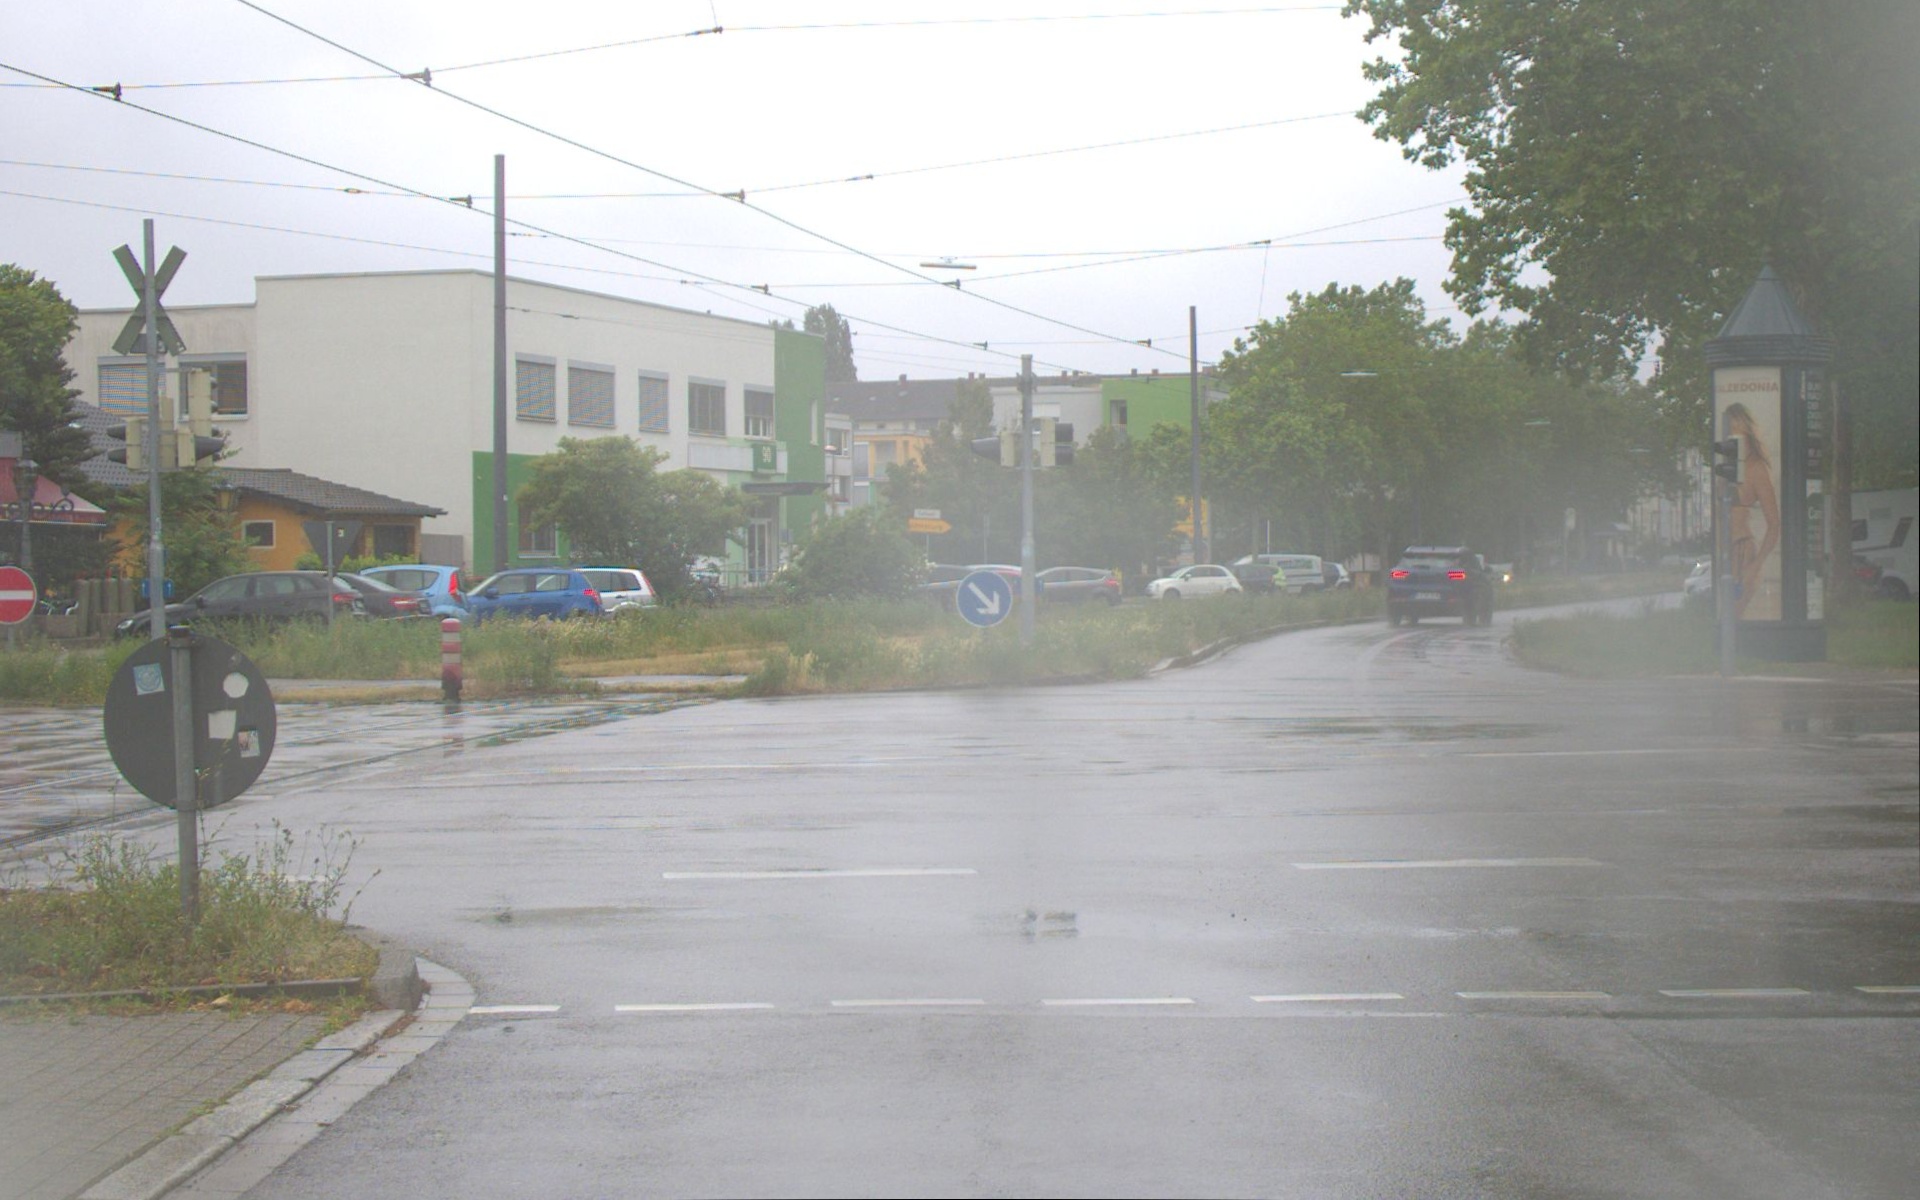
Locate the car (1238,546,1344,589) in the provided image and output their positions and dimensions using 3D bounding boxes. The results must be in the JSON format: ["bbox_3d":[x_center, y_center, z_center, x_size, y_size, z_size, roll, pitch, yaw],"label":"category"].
[{"bbox_3d":[13.935,-1.381,144.883,3.986,1.752,2.011,1,0,-11],"label":"car"}]

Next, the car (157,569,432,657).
[{"bbox_3d":[-11.846,0.220,61.396,4.497,1.413,1.858,-2,0,1],"label":"car"}]

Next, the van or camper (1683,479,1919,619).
[{"bbox_3d":[20.847,-1.177,80.501,7.328,3.167,3.259,1,1,18],"label":"van or camper"}]

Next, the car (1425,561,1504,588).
[{"bbox_3d":[26.310,-1.329,179.341,3.887,1.349,1.762,1,0,3],"label":"car"}]

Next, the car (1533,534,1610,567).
[{"bbox_3d":[35.312,-2.862,198.685,3.986,1.826,2.000,1,0,-5],"label":"car"}]

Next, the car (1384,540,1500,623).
[{"bbox_3d":[10.184,-0.385,72.460,1.807,1.680,3.908,1,1,17],"label":"car"}]

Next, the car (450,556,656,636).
[{"bbox_3d":[-8.645,-0.089,72.912,4.107,1.635,1.930,-1,0,-14],"label":"car"}]

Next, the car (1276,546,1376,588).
[{"bbox_3d":[16.372,-1.473,153.846,3.986,1.826,2.001,1,0,-11],"label":"car"}]

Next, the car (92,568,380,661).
[{"bbox_3d":[-12.387,0.232,58.988,4.477,1.413,1.858,-2,0,1],"label":"car"}]

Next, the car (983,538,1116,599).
[{"bbox_3d":[2.855,-1.012,110.178,3.986,1.881,2.000,1,0,-7],"label":"car"}]

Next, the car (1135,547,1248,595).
[{"bbox_3d":[8.521,-1.075,126.688,3.773,1.697,1.837,1,0,-10],"label":"car"}]

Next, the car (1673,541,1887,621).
[{"bbox_3d":[18.503,-0.441,77.582,4.449,1.711,1.998,1,1,21],"label":"car"}]

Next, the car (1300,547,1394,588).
[{"bbox_3d":[17.892,-1.503,158.916,3.986,1.826,2.000,1,0,-5],"label":"car"}]

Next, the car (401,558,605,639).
[{"bbox_3d":[-9.293,-0.044,69.773,3.986,1.576,1.930,0,0,-11],"label":"car"}]

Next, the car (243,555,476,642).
[{"bbox_3d":[-11.263,-0.038,64.635,3.987,1.576,1.858,0,0,4],"label":"car"}]

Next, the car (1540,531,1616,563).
[{"bbox_3d":[36.560,-3.124,203.416,3.986,1.826,2.000,1,0,-5],"label":"car"}]

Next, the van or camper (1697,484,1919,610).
[{"bbox_3d":[23.269,-1.380,89.699,7.434,3.167,3.259,1,1,22],"label":"van or camper"}]
